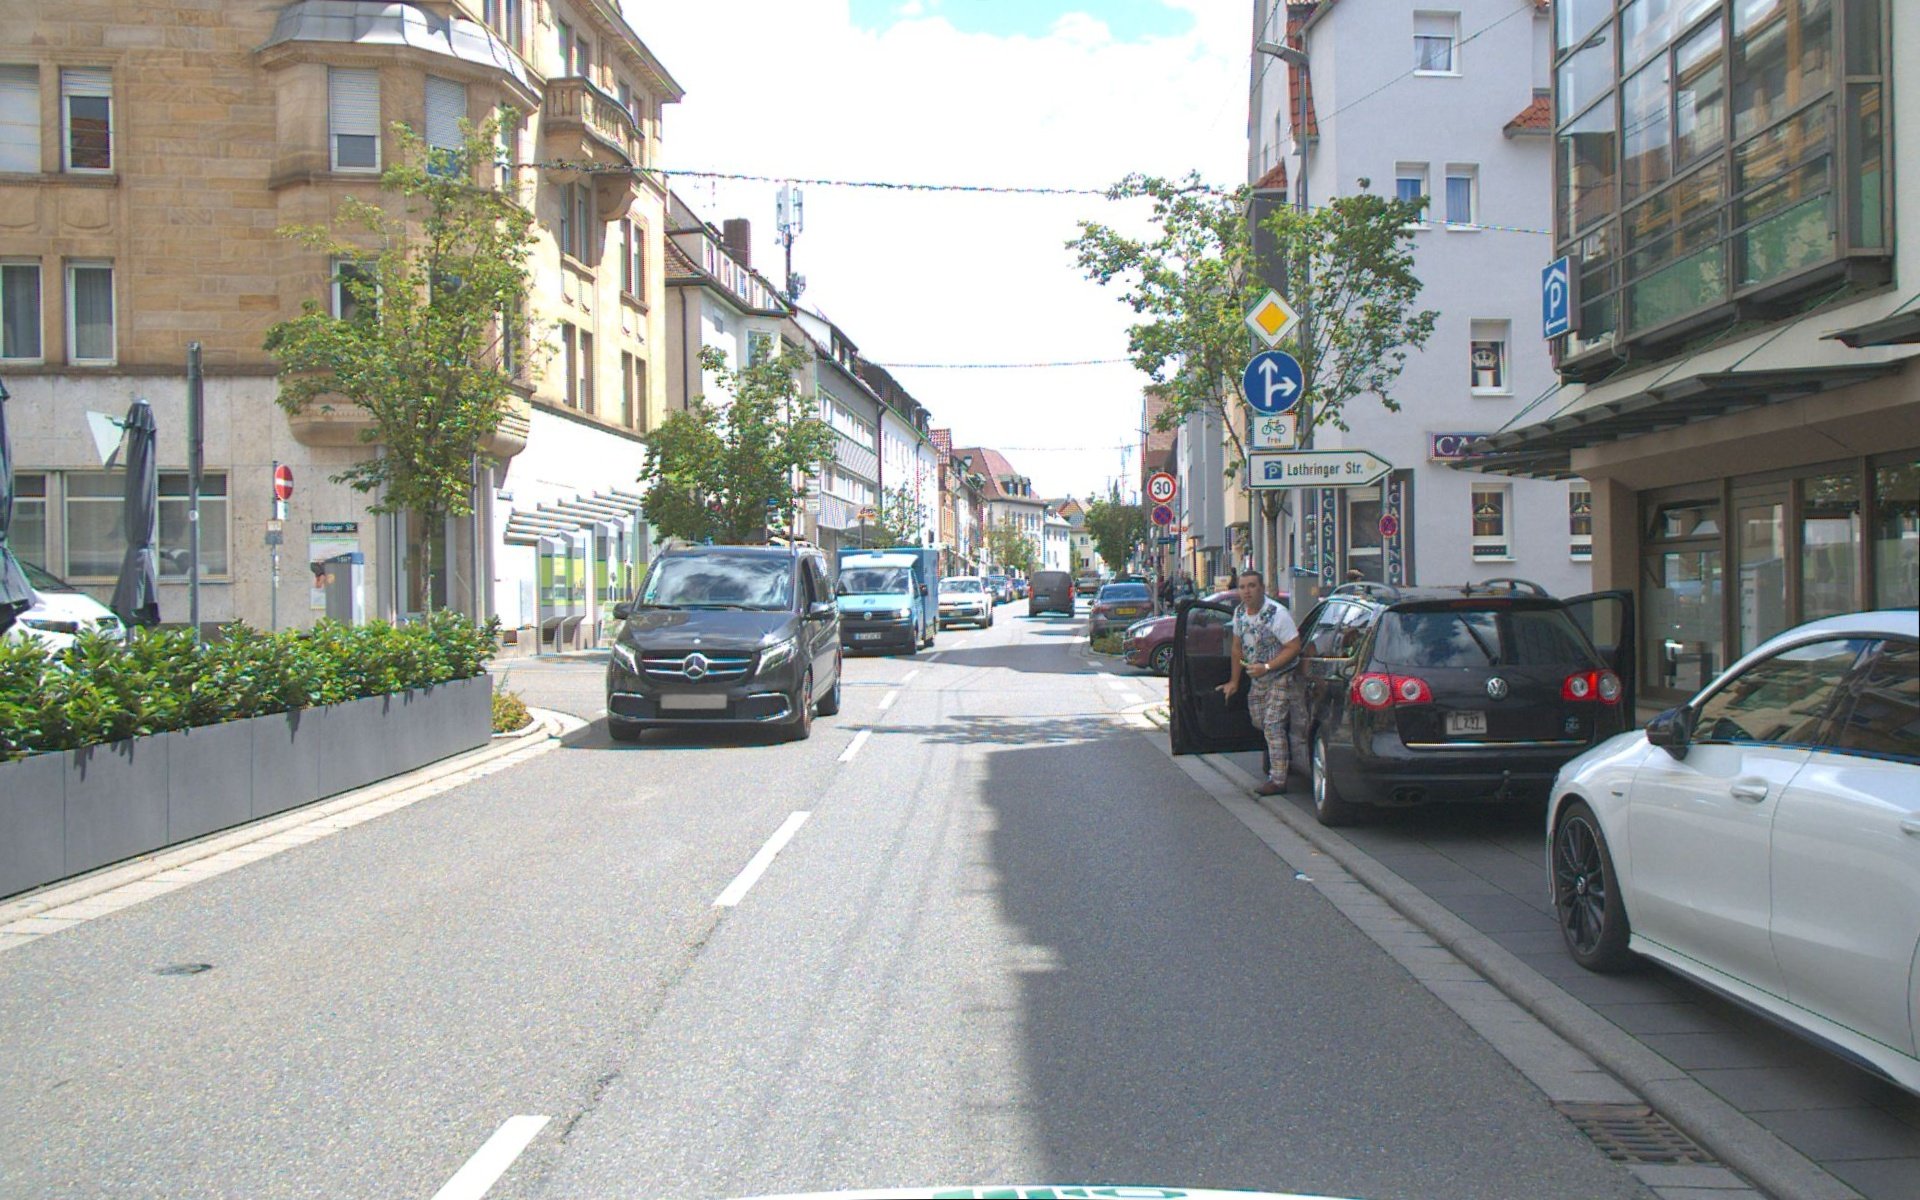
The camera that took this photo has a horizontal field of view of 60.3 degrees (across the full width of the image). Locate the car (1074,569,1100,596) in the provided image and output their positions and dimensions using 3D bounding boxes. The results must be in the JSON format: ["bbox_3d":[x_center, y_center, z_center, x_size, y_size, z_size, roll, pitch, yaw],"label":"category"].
[{"bbox_3d":[11.644,-1.579,151.564,2.021,2.341,4.228,1,0,8],"label":"car"}]

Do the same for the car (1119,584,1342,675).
[{"bbox_3d":[4.569,0.491,28.264,3.547,1.438,1.590,1,0,0],"label":"car"}]

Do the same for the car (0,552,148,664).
[{"bbox_3d":[-15.055,0.112,25.726,3.909,1.691,1.907,0,0,-5],"label":"car"}]

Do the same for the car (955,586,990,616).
[{"bbox_3d":[0.684,0.042,92.839,1.953,1.612,4.000,0,1,0],"label":"car"}]

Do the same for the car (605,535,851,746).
[{"bbox_3d":[-2.222,0.320,17.087,1.797,1.867,4.571,-1,1,1],"label":"car"}]

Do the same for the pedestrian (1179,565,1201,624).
[{"bbox_3d":[8.115,-0.201,58.405,0.668,2.049,0.598,0,0,-2],"label":"pedestrian"}]

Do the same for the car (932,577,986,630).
[{"bbox_3d":[-0.027,0.080,52.793,1.662,1.612,3.957,0,1,0],"label":"car"}]

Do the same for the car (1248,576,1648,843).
[{"bbox_3d":[3.098,0.585,11.361,1.572,1.459,4.175,-1,1,1],"label":"car"}]

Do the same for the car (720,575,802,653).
[{"bbox_3d":[-4.694,0.277,39.446,1.675,1.742,3.998,0,1,-3],"label":"car"}]

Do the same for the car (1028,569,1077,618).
[{"bbox_3d":[3.827,-0.317,68.331,1.930,1.908,5.040,-1,1,4],"label":"car"}]

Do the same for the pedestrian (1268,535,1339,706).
[{"bbox_3d":[4.177,0.242,20.141,0.675,2.049,0.723,0,0,-4],"label":"pedestrian"}]

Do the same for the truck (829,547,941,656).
[{"bbox_3d":[-1.580,-0.019,36.757,2.023,2.203,5.296,-1,1,2],"label":"truck"}]

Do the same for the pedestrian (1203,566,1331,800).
[{"bbox_3d":[2.216,0.573,11.937,0.654,1.622,0.675,1,0,38],"label":"pedestrian"}]

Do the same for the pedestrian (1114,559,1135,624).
[{"bbox_3d":[5.259,-0.276,52.877,0.668,2.049,0.599,0,0,5],"label":"pedestrian"}]

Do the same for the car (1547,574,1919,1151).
[{"bbox_3d":[3.250,0.659,4.816,1.588,1.459,4.240,-2,0,1],"label":"car"}]

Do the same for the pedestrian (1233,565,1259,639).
[{"bbox_3d":[7.429,0.052,42.982,0.581,1.923,0.573,1,0,3],"label":"pedestrian"}]

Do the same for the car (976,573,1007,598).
[{"bbox_3d":[2.058,-0.988,109.123,1.953,1.612,4.000,0,1,0],"label":"car"}]

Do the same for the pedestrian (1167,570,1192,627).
[{"bbox_3d":[7.425,-0.049,56.034,0.563,1.923,0.640,1,0,-26],"label":"pedestrian"}]

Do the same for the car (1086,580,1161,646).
[{"bbox_3d":[3.879,0.276,39.548,1.489,1.459,3.371,-1,1,1],"label":"car"}]

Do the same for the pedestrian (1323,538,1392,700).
[{"bbox_3d":[5.116,0.240,21.320,0.675,2.049,0.723,0,0,-4],"label":"pedestrian"}]

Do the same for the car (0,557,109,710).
[{"bbox_3d":[-13.044,0.394,20.201,4.345,1.806,1.992,0,1,-16],"label":"car"}]

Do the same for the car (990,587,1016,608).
[{"bbox_3d":[3.345,-0.230,129.672,1.953,1.612,4.000,0,1,0],"label":"car"}]

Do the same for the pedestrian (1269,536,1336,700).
[{"bbox_3d":[4.375,0.224,21.161,0.675,2.049,0.723,0,0,-4],"label":"pedestrian"}]
